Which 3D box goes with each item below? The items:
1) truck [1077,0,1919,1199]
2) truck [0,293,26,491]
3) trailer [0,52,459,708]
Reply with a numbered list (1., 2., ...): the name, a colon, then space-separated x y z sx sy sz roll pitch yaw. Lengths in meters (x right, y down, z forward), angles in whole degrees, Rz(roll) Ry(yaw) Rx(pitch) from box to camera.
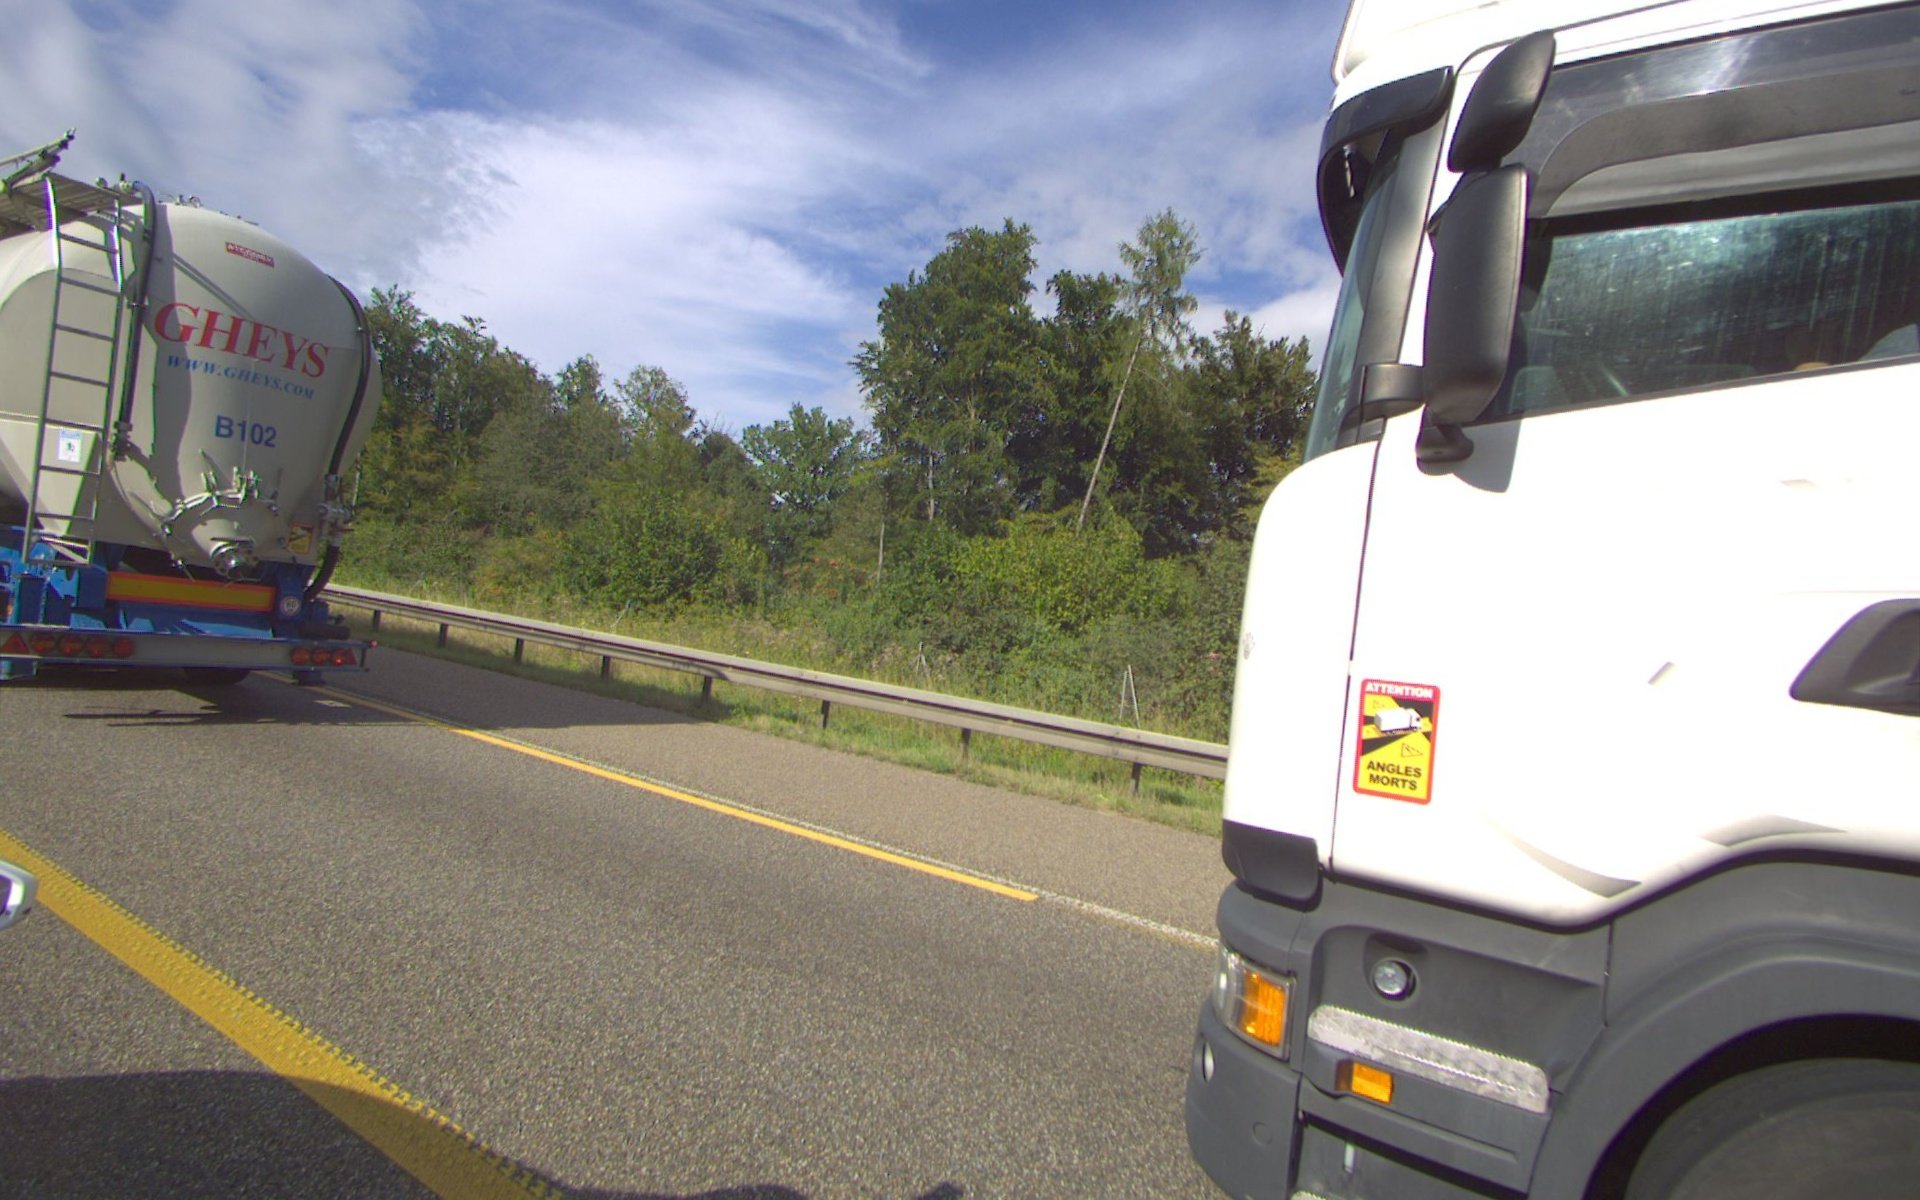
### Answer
1. truck: 3.534 -0.108 1.876 5.614 4.006 2.673 7 -1 31
2. truck: -15.957 -2.451 13.924 5.683 4.018 2.664 6 -2 31
3. trailer: -10.334 -1.811 10.465 12.388 3.989 2.649 7 -1 32
